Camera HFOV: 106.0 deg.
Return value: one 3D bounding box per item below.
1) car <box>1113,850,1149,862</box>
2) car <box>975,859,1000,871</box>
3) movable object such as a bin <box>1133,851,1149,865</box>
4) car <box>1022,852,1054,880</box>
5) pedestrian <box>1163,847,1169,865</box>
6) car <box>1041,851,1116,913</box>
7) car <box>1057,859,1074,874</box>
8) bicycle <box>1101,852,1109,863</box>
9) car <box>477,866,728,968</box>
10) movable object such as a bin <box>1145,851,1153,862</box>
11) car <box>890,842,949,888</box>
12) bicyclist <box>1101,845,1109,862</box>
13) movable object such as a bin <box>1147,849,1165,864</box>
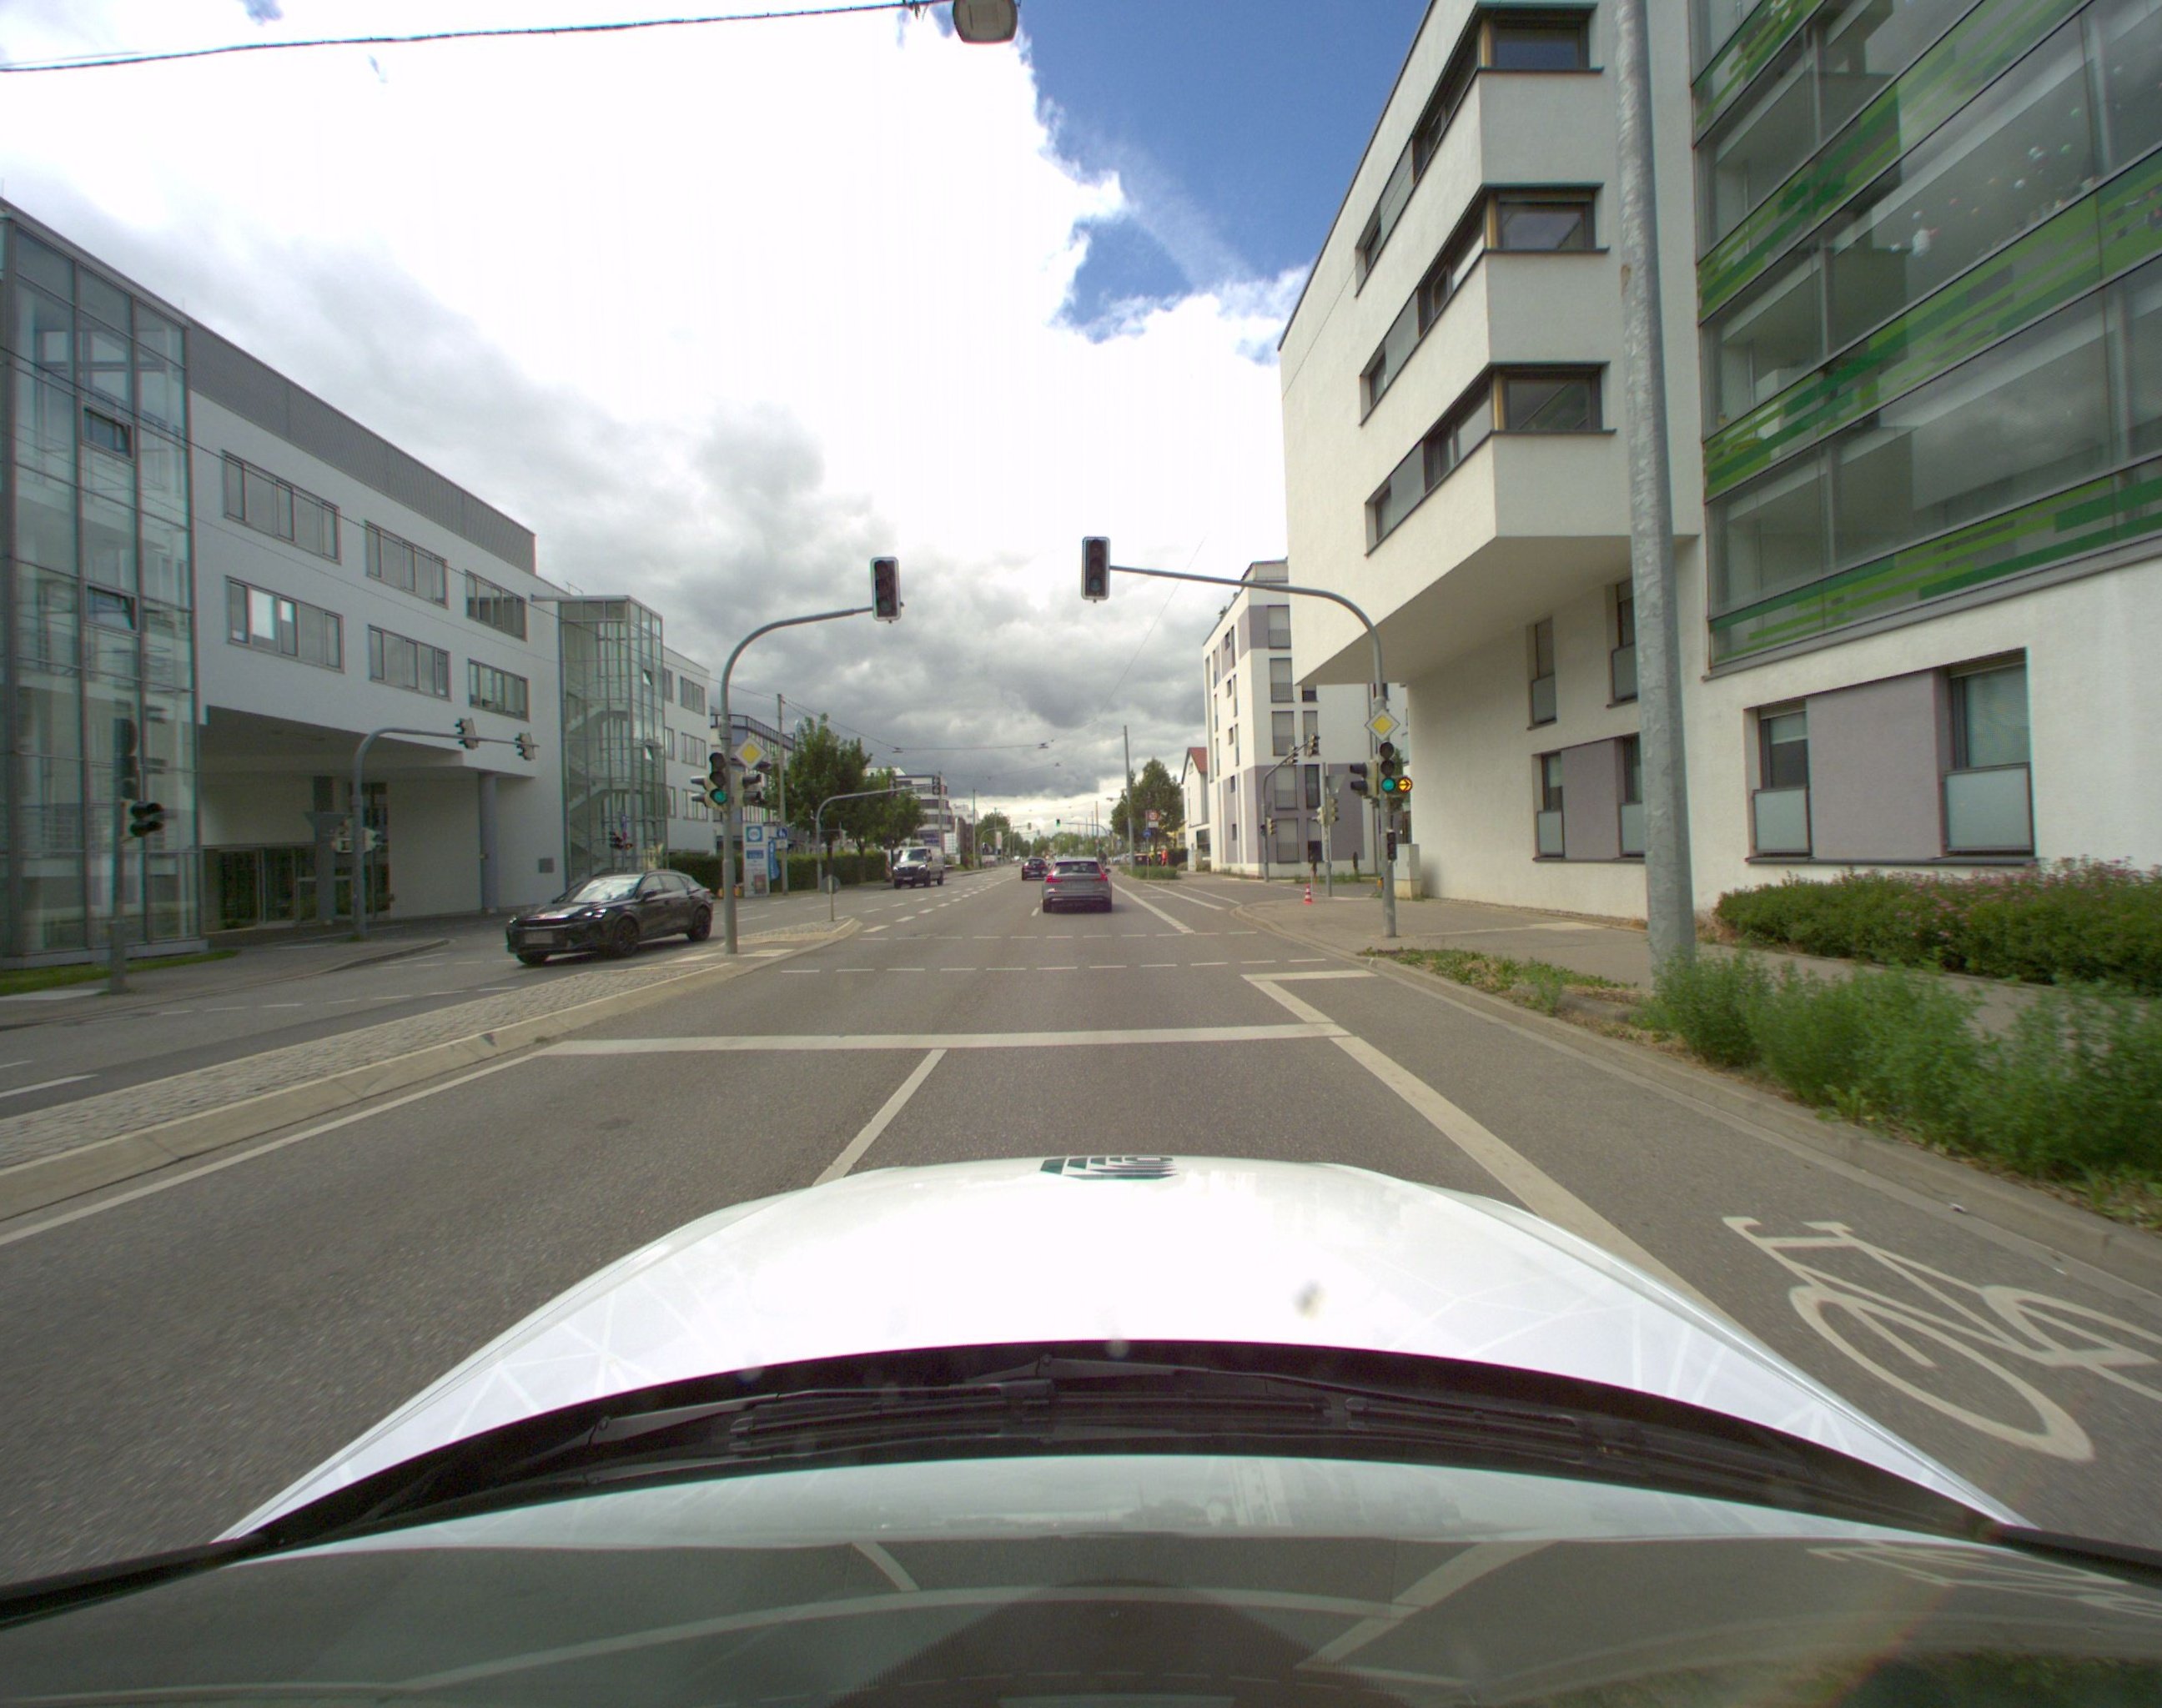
[{"bbox_3d":[6.778,0.292,110.387,4.684,1.493,2.044,-1,0,-2],"label":"car"},{"bbox_3d":[-16.223,1.866,140.806,4.091,1.397,1.903,-8,1,-8],"label":"car"},{"bbox_3d":[5.984,0.387,81.345,1.309,1.361,1.256,-3,-1,15],"label":"movable object such as a bin"},{"bbox_3d":[-2.774,0.780,52.896,1.989,1.717,3.995,0,-1,-3],"label":"car"},{"bbox_3d":[8.383,0.228,80.016,0.503,1.765,0.503,-1,-1,16],"label":"pedestrian"},{"bbox_3d":[-0.096,0.741,22.770,1.890,1.554,3.998,0,-1,-1],"label":"car"},{"bbox_3d":[-1.785,1.424,93.556,1.988,1.695,3.997,0,-1,-1],"label":"car"},{"bbox_3d":[2.483,0.371,83.213,0.636,1.063,1.977,-6,0,0],"label":"bicycle"},{"bbox_3d":[-8.740,1.052,15.462,1.878,1.552,4.541,-3,-1,2],"label":"car"},{"bbox_3d":[6.862,0.264,82.237,0.561,1.026,0.408,-3,-2,36],"label":"movable object such as a bin"},{"bbox_3d":[-9.642,0.657,49.202,2.136,2.471,6.072,-4,0,0],"label":"car"},{"bbox_3d":[2.442,-0.080,83.406,0.636,1.675,0.890,-6,0,-1],"label":"bicyclist"},{"bbox_3d":[7.514,0.253,81.697,1.306,1.435,1.259,-3,-2,36],"label":"movable object such as a bin"}]
